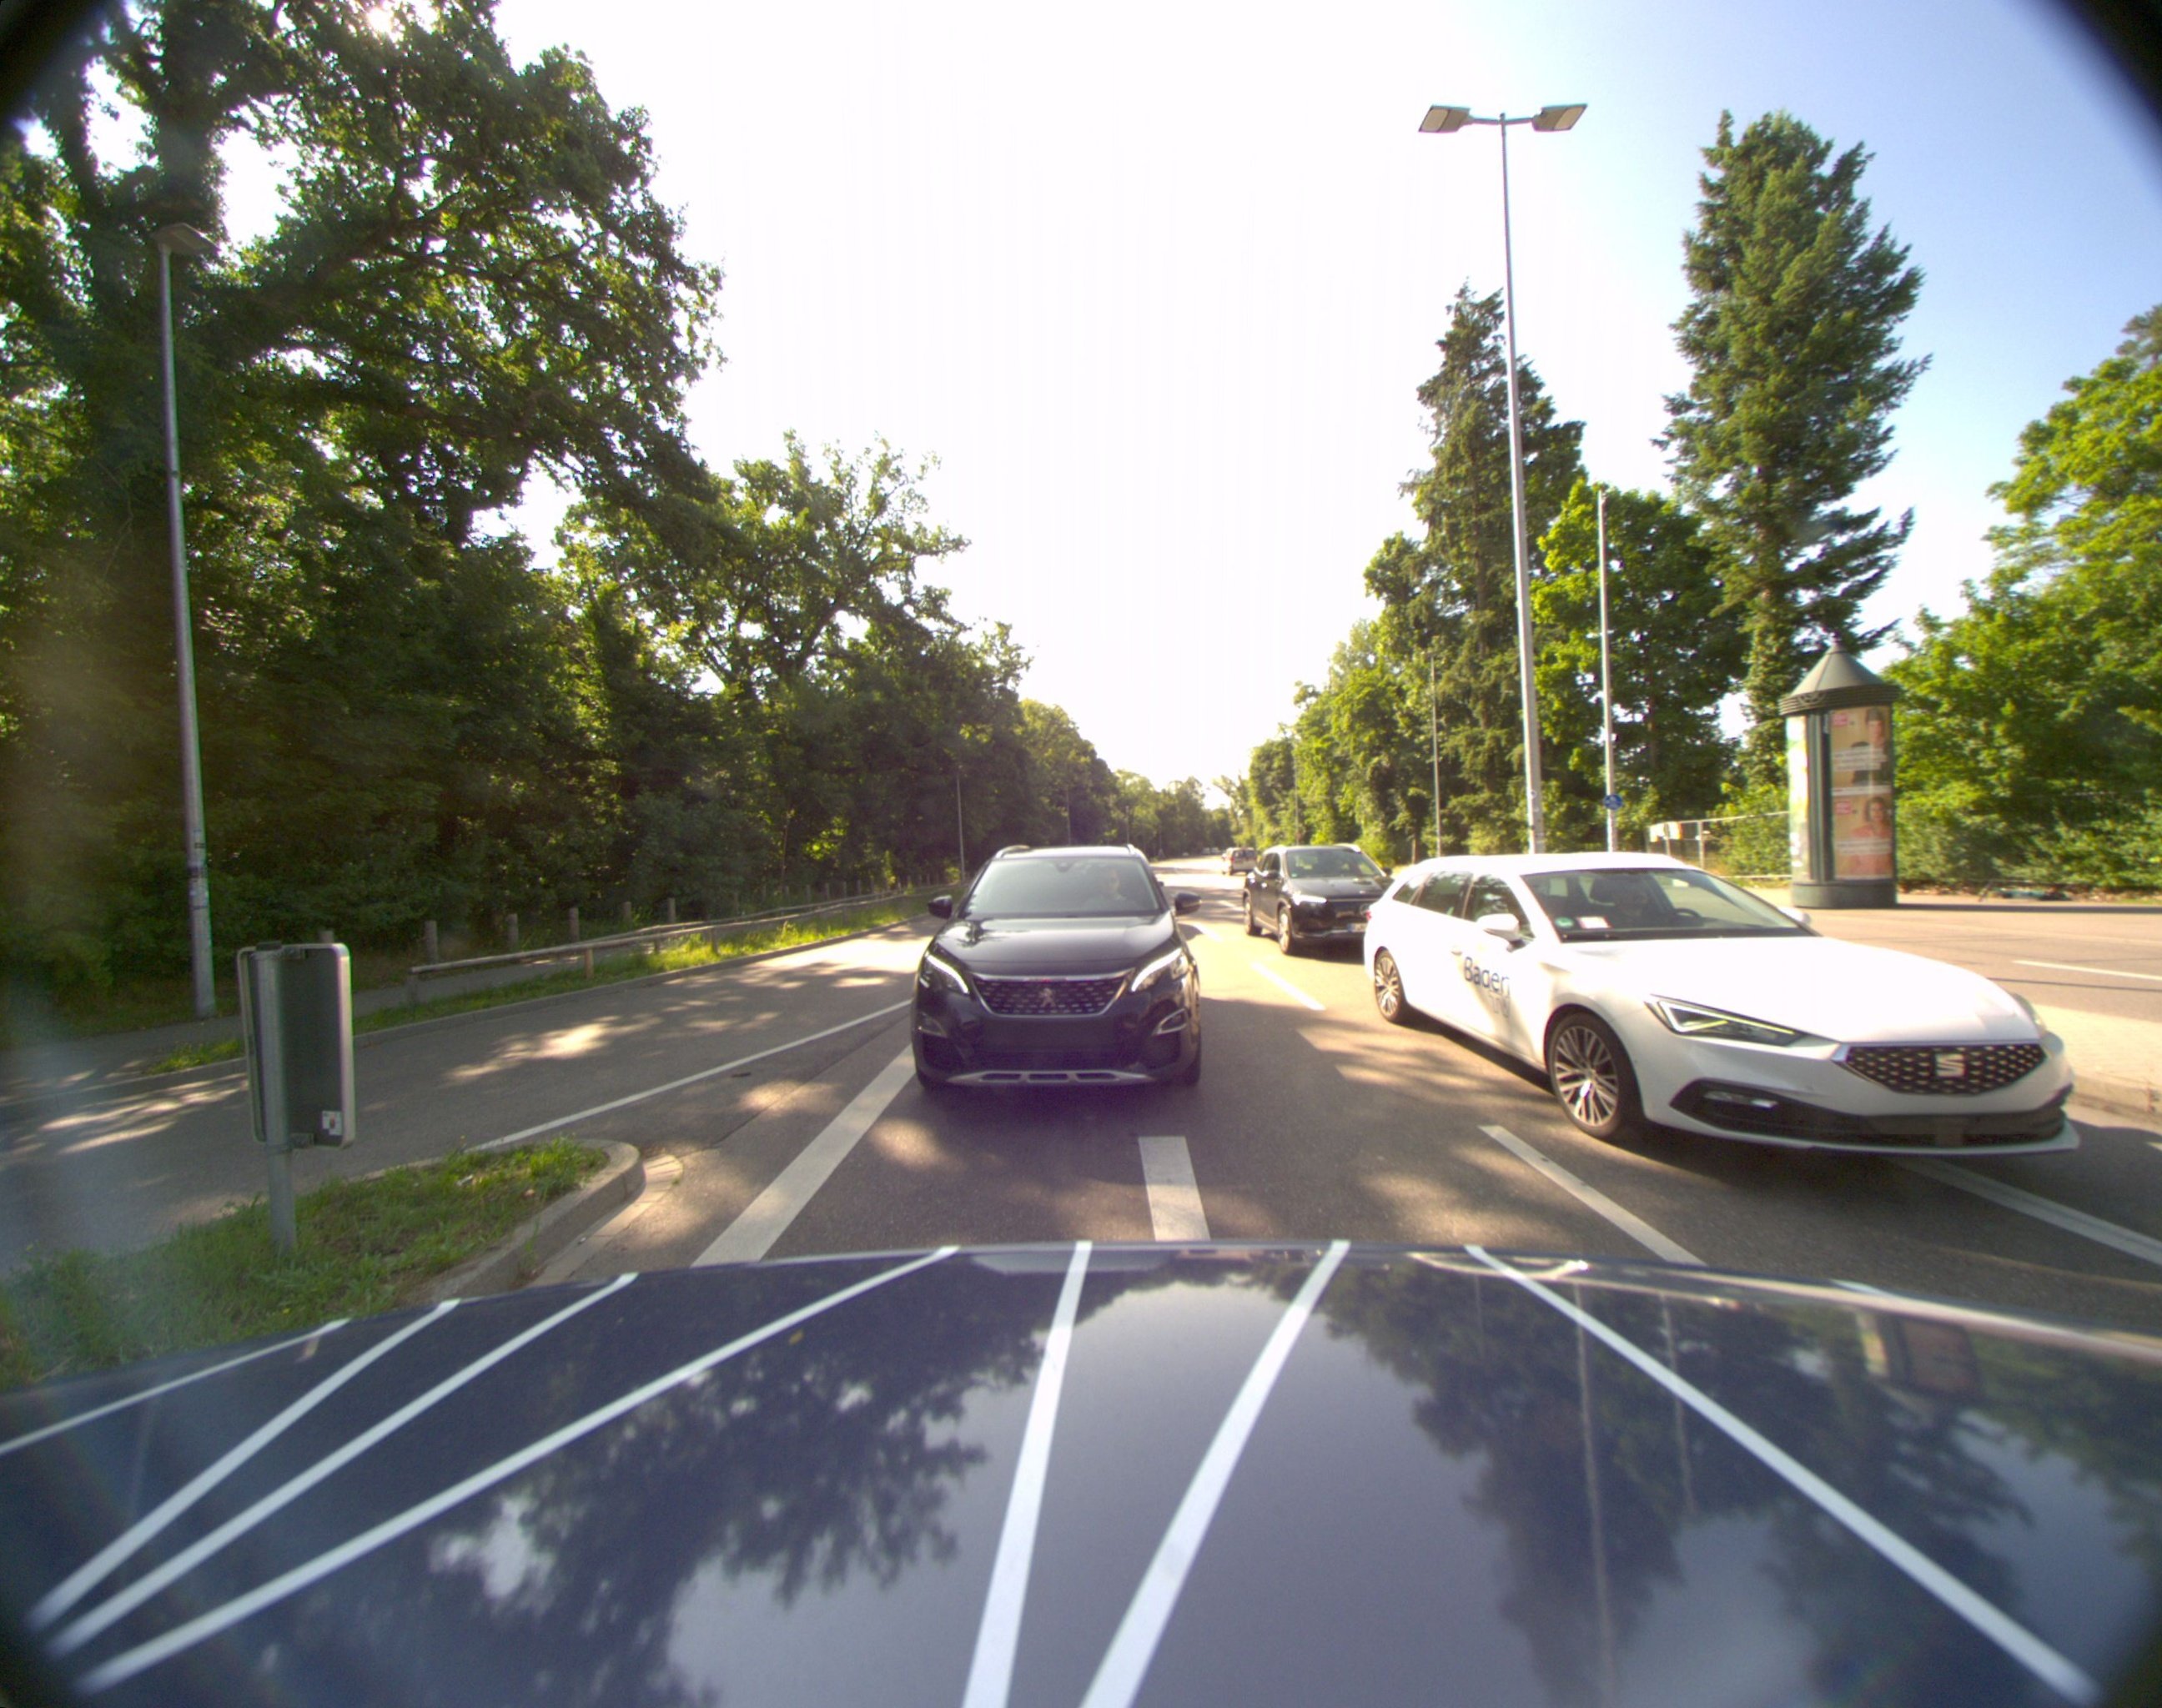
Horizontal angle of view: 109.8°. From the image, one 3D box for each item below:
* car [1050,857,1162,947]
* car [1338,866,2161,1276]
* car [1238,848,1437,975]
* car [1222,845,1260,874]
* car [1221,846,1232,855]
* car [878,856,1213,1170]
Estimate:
[{"bbox_3d":[0.475,0.867,15.569,1.933,1.499,4.000,-2,0,1],"label":"car"},{"bbox_3d":[3.397,0.857,5.203,1.729,1.418,4.720,-1,0,1],"label":"car"},{"bbox_3d":[3.754,0.767,11.978,1.809,1.586,4.274,-2,0,2],"label":"car"},{"bbox_3d":[10.987,0.341,52.337,1.876,1.849,4.001,-2,0,3],"label":"car"},{"bbox_3d":[27.679,-0.619,144.950,1.855,1.608,4.003,-2,0,10],"label":"car"},{"bbox_3d":[-0.158,0.849,6.180,1.702,1.581,4.319,-2,0,1],"label":"car"}]
